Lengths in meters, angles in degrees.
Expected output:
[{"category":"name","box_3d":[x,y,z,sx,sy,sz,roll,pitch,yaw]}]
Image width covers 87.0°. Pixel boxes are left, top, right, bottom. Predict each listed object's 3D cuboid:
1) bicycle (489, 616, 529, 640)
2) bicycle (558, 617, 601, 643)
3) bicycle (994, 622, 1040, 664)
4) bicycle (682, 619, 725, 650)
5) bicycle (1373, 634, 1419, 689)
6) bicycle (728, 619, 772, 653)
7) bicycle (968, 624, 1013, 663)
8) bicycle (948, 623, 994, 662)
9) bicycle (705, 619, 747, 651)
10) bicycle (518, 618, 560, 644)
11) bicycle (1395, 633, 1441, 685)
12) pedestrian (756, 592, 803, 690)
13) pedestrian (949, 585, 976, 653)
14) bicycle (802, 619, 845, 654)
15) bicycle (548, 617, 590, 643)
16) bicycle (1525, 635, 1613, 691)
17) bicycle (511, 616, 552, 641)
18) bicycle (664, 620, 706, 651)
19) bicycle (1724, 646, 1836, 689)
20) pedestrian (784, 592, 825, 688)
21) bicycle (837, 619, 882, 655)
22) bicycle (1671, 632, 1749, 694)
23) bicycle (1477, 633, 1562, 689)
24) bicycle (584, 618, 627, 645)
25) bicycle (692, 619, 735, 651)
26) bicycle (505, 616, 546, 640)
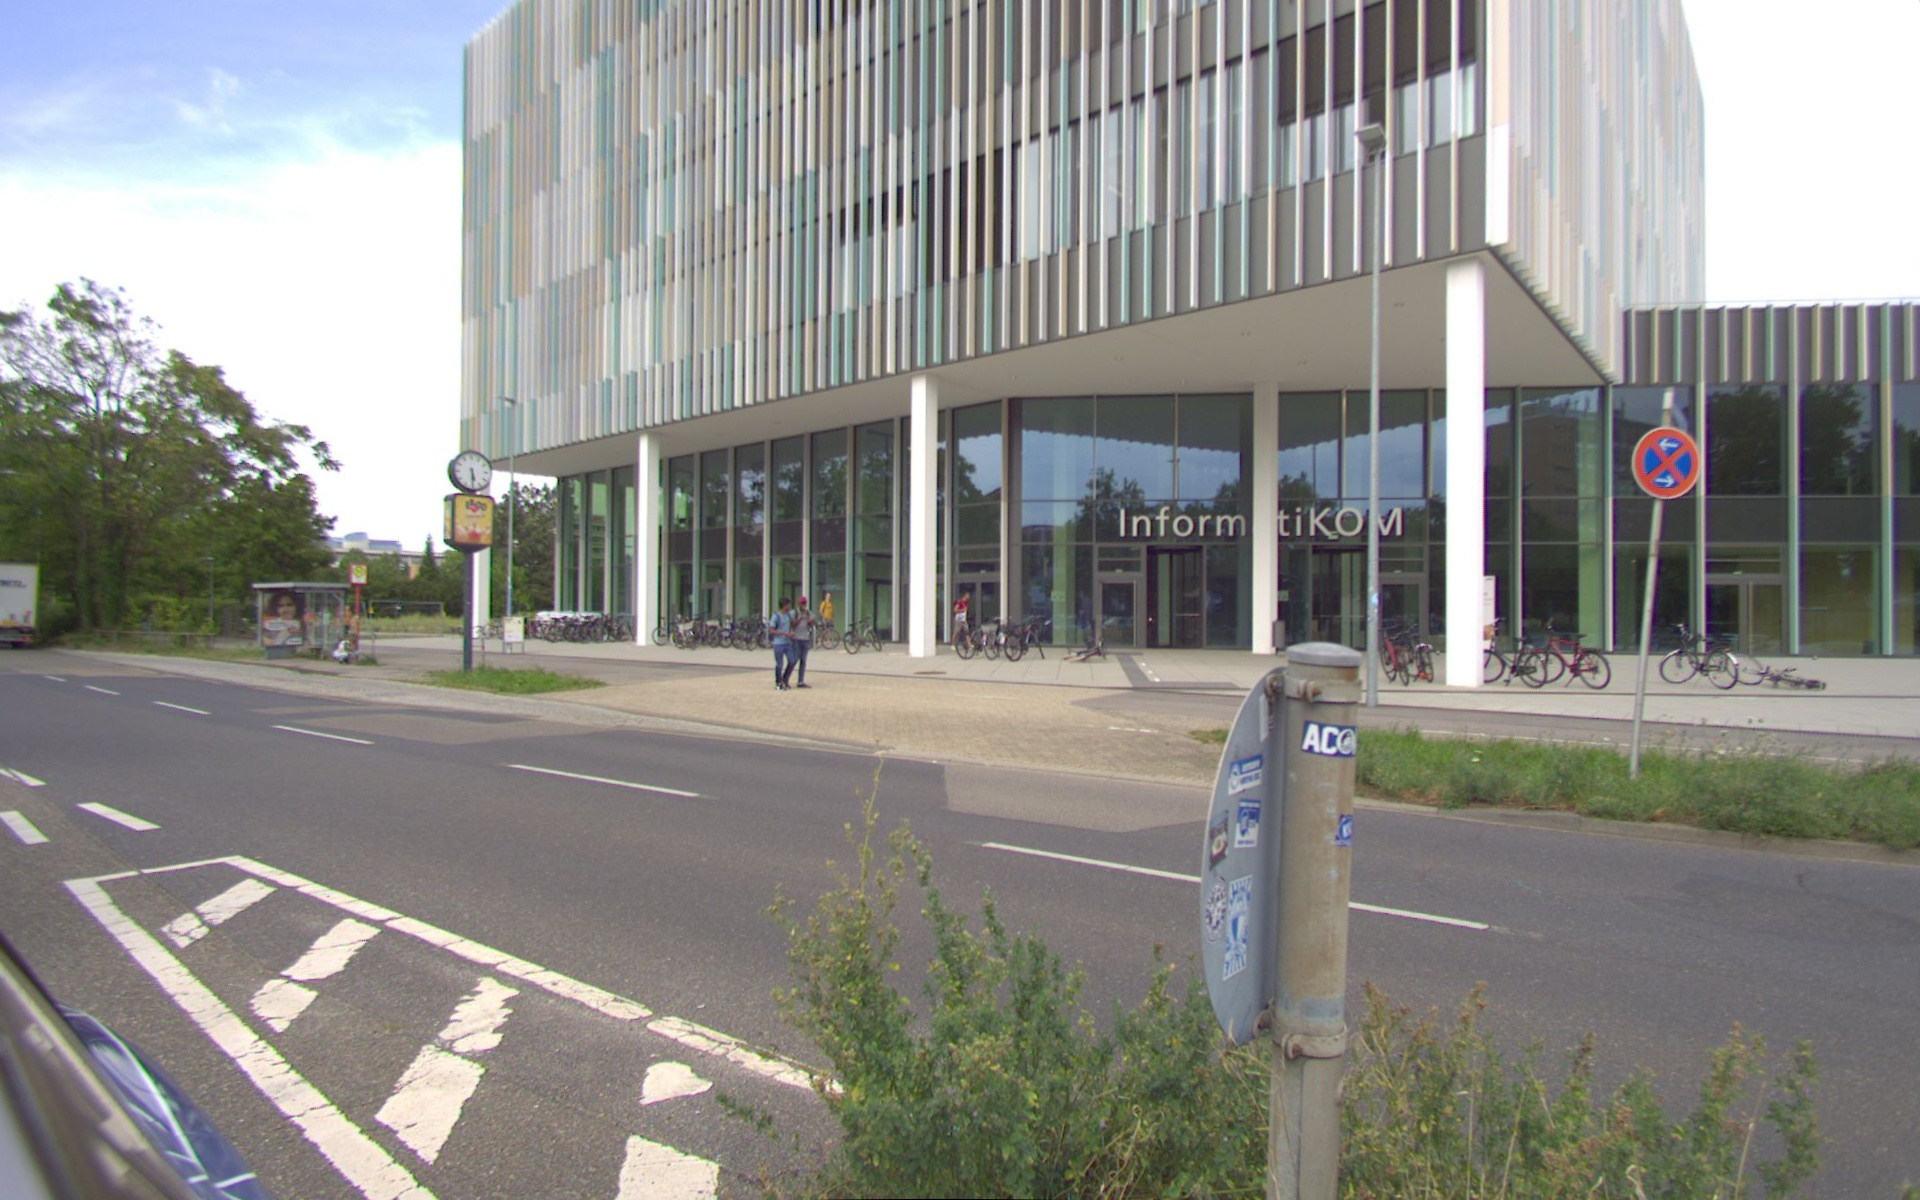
[{"category":"bicycle","box_3d":[-20.699,1.256,46.468,0.434,1.031,1.683,-1,1,36]},{"category":"bicycle","box_3d":[-15.697,1.226,41.798,0.434,1.031,1.683,-1,1,36]},{"category":"bicycle","box_3d":[1.501,1.103,26.308,0.399,1.002,1.527,-1,1,37]},{"category":"bicycle","box_3d":[-9.073,1.222,35.877,0.389,1.031,1.563,-1,1,36]},{"category":"bicycle","box_3d":[8.457,1.170,19.672,0.389,0.944,1.607,-1,1,8]},{"category":"bicycle","box_3d":[-7.016,1.194,33.917,0.389,1.031,1.563,-1,1,36]},{"category":"bicycle","box_3d":[0.826,1.134,26.771,0.393,0.944,1.527,-1,1,36]},{"category":"bicycle","box_3d":[0.309,1.134,27.196,0.389,0.944,1.527,-1,1,36]},{"category":"bicycle","box_3d":[-8.099,1.215,35.072,0.389,1.031,1.563,-1,1,36]},{"category":"bicycle","box_3d":[-18.247,1.335,43.872,0.434,1.031,1.683,-1,1,36]},{"category":"bicycle","box_3d":[9.270,1.179,20.528,0.389,0.944,1.594,-1,1,8]},{"category":"pedestrian","box_3d":[-3.473,0.784,19.458,0.772,1.851,0.505,-2,-2,41]},{"category":"pedestrian","box_3d":[0.074,0.584,30.795,0.505,2.059,0.625,1,-2,-44]},{"category":"bicycle","box_3d":[-4.359,1.146,32.340,0.389,1.031,1.563,-1,1,36]},{"category":"bicycle","box_3d":[-16.346,1.247,42.348,0.434,1.031,1.683,-1,1,36]},{"category":"bicycle","box_3d":[11.508,1.169,19.179,0.387,0.944,1.603,-1,1,-15]},{"category":"bicycle","box_3d":[-18.989,1.252,44.839,0.434,1.031,1.683,-1,1,36]},{"category":"bicycle","box_3d":[-9.922,1.258,36.571,0.389,1.031,1.563,-1,1,36]},{"category":"bicycle","box_3d":[15.410,1.253,19.068,0.387,0.678,1.800,-1,1,-11]},{"category":"pedestrian","box_3d":[-3.041,0.778,19.782,0.624,1.851,0.505,-2,-2,41]},{"category":"bicycle","box_3d":[-3.038,1.107,30.729,0.389,1.031,1.563,-1,1,36]},{"category":"bicycle","box_3d":[14.002,1.158,18.930,0.389,1.037,1.544,-1,1,4]},{"category":"bicycle","box_3d":[10.542,1.137,19.122,0.387,0.944,1.603,-1,1,-15]},{"category":"bicycle","box_3d":[-14.312,1.263,40.886,0.389,1.031,1.683,-1,1,36]},{"category":"bicycle","box_3d":[-8.626,1.212,35.458,0.389,1.031,1.563,-1,1,36]},{"category":"bicycle","box_3d":[-19.534,1.253,45.550,0.434,1.031,1.683,-1,1,36]}]
